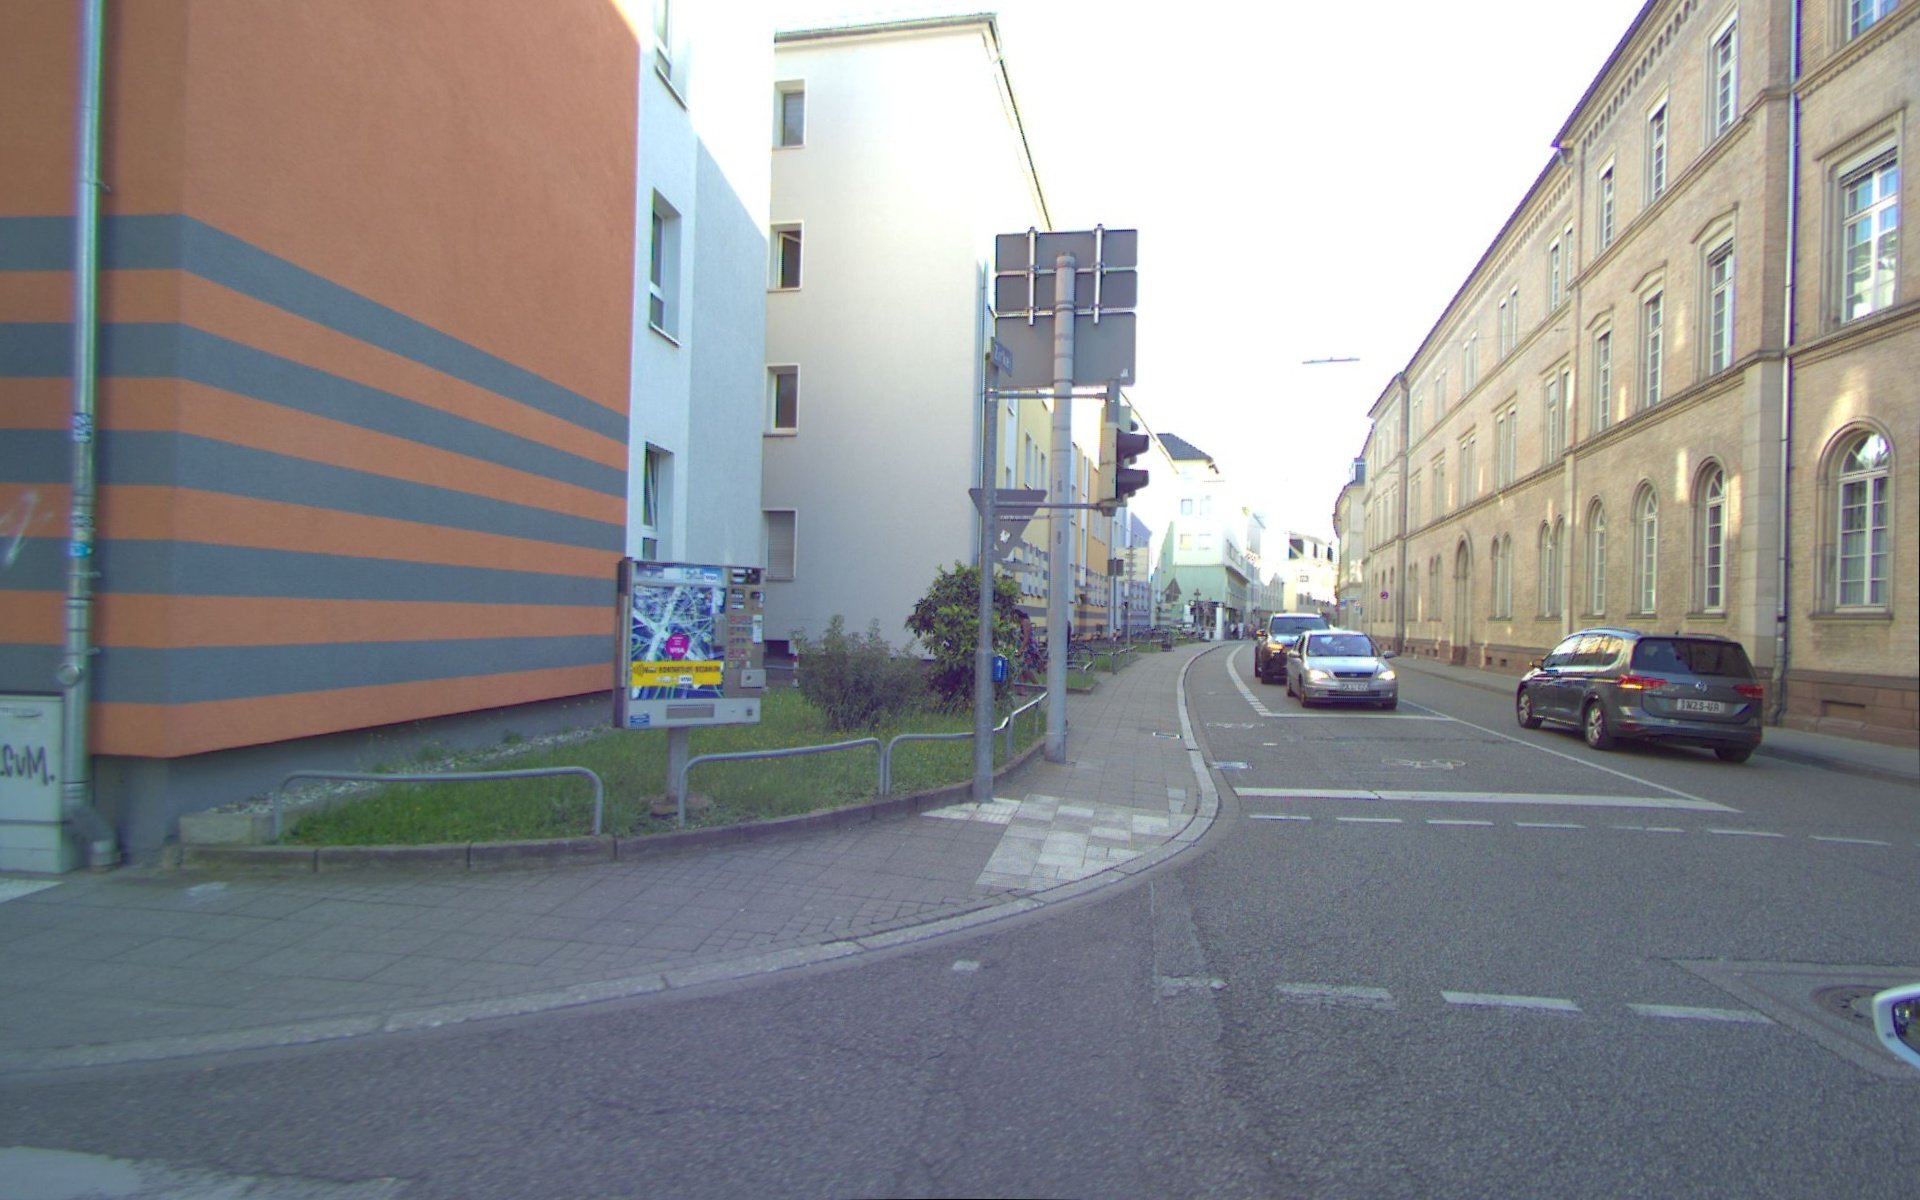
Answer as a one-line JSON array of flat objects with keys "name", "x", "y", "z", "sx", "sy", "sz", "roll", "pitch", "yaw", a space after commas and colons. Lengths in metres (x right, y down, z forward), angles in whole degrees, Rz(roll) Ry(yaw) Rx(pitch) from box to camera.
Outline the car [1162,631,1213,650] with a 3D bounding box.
[{"name": "car", "x": 19.188, "y": 3.422, "z": 84.793, "sx": 4.030, "sy": 1.462, "sz": 1.948, "roll": 0, "pitch": -1, "yaw": 19}]

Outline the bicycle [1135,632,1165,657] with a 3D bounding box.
[{"name": "bicycle", "x": 10.294, "y": 2.402, "z": 54.381, "sx": 1.557, "sy": 1.258, "sz": 0.449, "roll": 1, "pitch": -1, "yaw": 15}]

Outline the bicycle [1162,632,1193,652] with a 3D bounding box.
[{"name": "bicycle", "x": 14.677, "y": 2.847, "z": 67.917, "sx": 1.897, "sy": 1.195, "sz": 0.614, "roll": 4, "pitch": -1, "yaw": 2}]

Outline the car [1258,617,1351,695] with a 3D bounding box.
[{"name": "car", "x": 9.030, "y": 1.423, "z": 26.674, "sx": 1.867, "sy": 1.859, "sz": 5.098, "roll": -1, "pitch": -2, "yaw": 14}]

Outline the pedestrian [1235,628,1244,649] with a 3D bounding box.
[{"name": "pedestrian", "x": 24.692, "y": 3.404, "z": 88.727, "sx": 0.549, "sy": 1.853, "sz": 0.727, "roll": 1, "pitch": -1, "yaw": 41}]

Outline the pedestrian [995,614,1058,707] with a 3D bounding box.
[{"name": "pedestrian", "x": 1.211, "y": 1.069, "z": 18.095, "sx": 0.994, "sy": 1.593, "sz": 1.080, "roll": 2, "pitch": -1, "yaw": 8}]

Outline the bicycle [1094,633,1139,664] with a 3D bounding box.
[{"name": "bicycle", "x": 6.236, "y": 1.934, "z": 40.149, "sx": 1.722, "sy": 1.160, "sz": 0.651, "roll": 1, "pitch": -1, "yaw": 7}]

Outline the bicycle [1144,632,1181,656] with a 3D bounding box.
[{"name": "bicycle", "x": 11.316, "y": 2.470, "z": 56.133, "sx": 1.974, "sy": 1.247, "sz": 0.623, "roll": 1, "pitch": -1, "yaw": 15}]

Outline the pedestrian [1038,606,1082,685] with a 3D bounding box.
[{"name": "pedestrian", "x": 2.465, "y": 1.107, "z": 24.701, "sx": 0.710, "sy": 1.879, "sz": 0.866, "roll": 1, "pitch": -1, "yaw": 36}]

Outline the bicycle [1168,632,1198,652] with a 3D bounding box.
[{"name": "bicycle", "x": 15.358, "y": 2.902, "z": 69.243, "sx": 1.896, "sy": 1.195, "sz": 0.614, "roll": 4, "pitch": -1, "yaw": 9}]

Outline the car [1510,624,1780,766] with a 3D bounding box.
[{"name": "car", "x": 9.429, "y": 1.201, "z": 14.247, "sx": 1.732, "sy": 1.628, "sz": 4.003, "roll": 3, "pitch": -1, "yaw": 12}]

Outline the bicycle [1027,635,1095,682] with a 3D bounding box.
[{"name": "bicycle", "x": 2.660, "y": 1.540, "z": 26.433, "sx": 1.722, "sy": 1.160, "sz": 0.651, "roll": 1, "pitch": -1, "yaw": 7}]

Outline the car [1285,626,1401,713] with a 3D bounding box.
[{"name": "car", "x": 7.338, "y": 1.274, "z": 19.598, "sx": 1.711, "sy": 1.505, "sz": 4.139, "roll": -1, "pitch": -2, "yaw": 16}]

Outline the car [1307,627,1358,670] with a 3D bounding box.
[{"name": "car", "x": 17.968, "y": 2.301, "z": 48.599, "sx": 1.960, "sy": 1.906, "sz": 4.002, "roll": 1, "pitch": -1, "yaw": 16}]

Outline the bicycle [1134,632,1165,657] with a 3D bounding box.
[{"name": "bicycle", "x": 10.186, "y": 2.386, "z": 53.978, "sx": 1.553, "sy": 1.258, "sz": 0.384, "roll": 1, "pitch": -1, "yaw": 15}]

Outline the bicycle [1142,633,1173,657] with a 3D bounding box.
[{"name": "bicycle", "x": 10.910, "y": 2.468, "z": 55.504, "sx": 1.611, "sy": 1.258, "sz": 0.467, "roll": 1, "pitch": -1, "yaw": 15}]

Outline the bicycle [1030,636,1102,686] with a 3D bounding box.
[{"name": "bicycle", "x": 2.646, "y": 1.511, "z": 25.014, "sx": 1.722, "sy": 1.160, "sz": 0.651, "roll": 1, "pitch": -1, "yaw": 7}]
